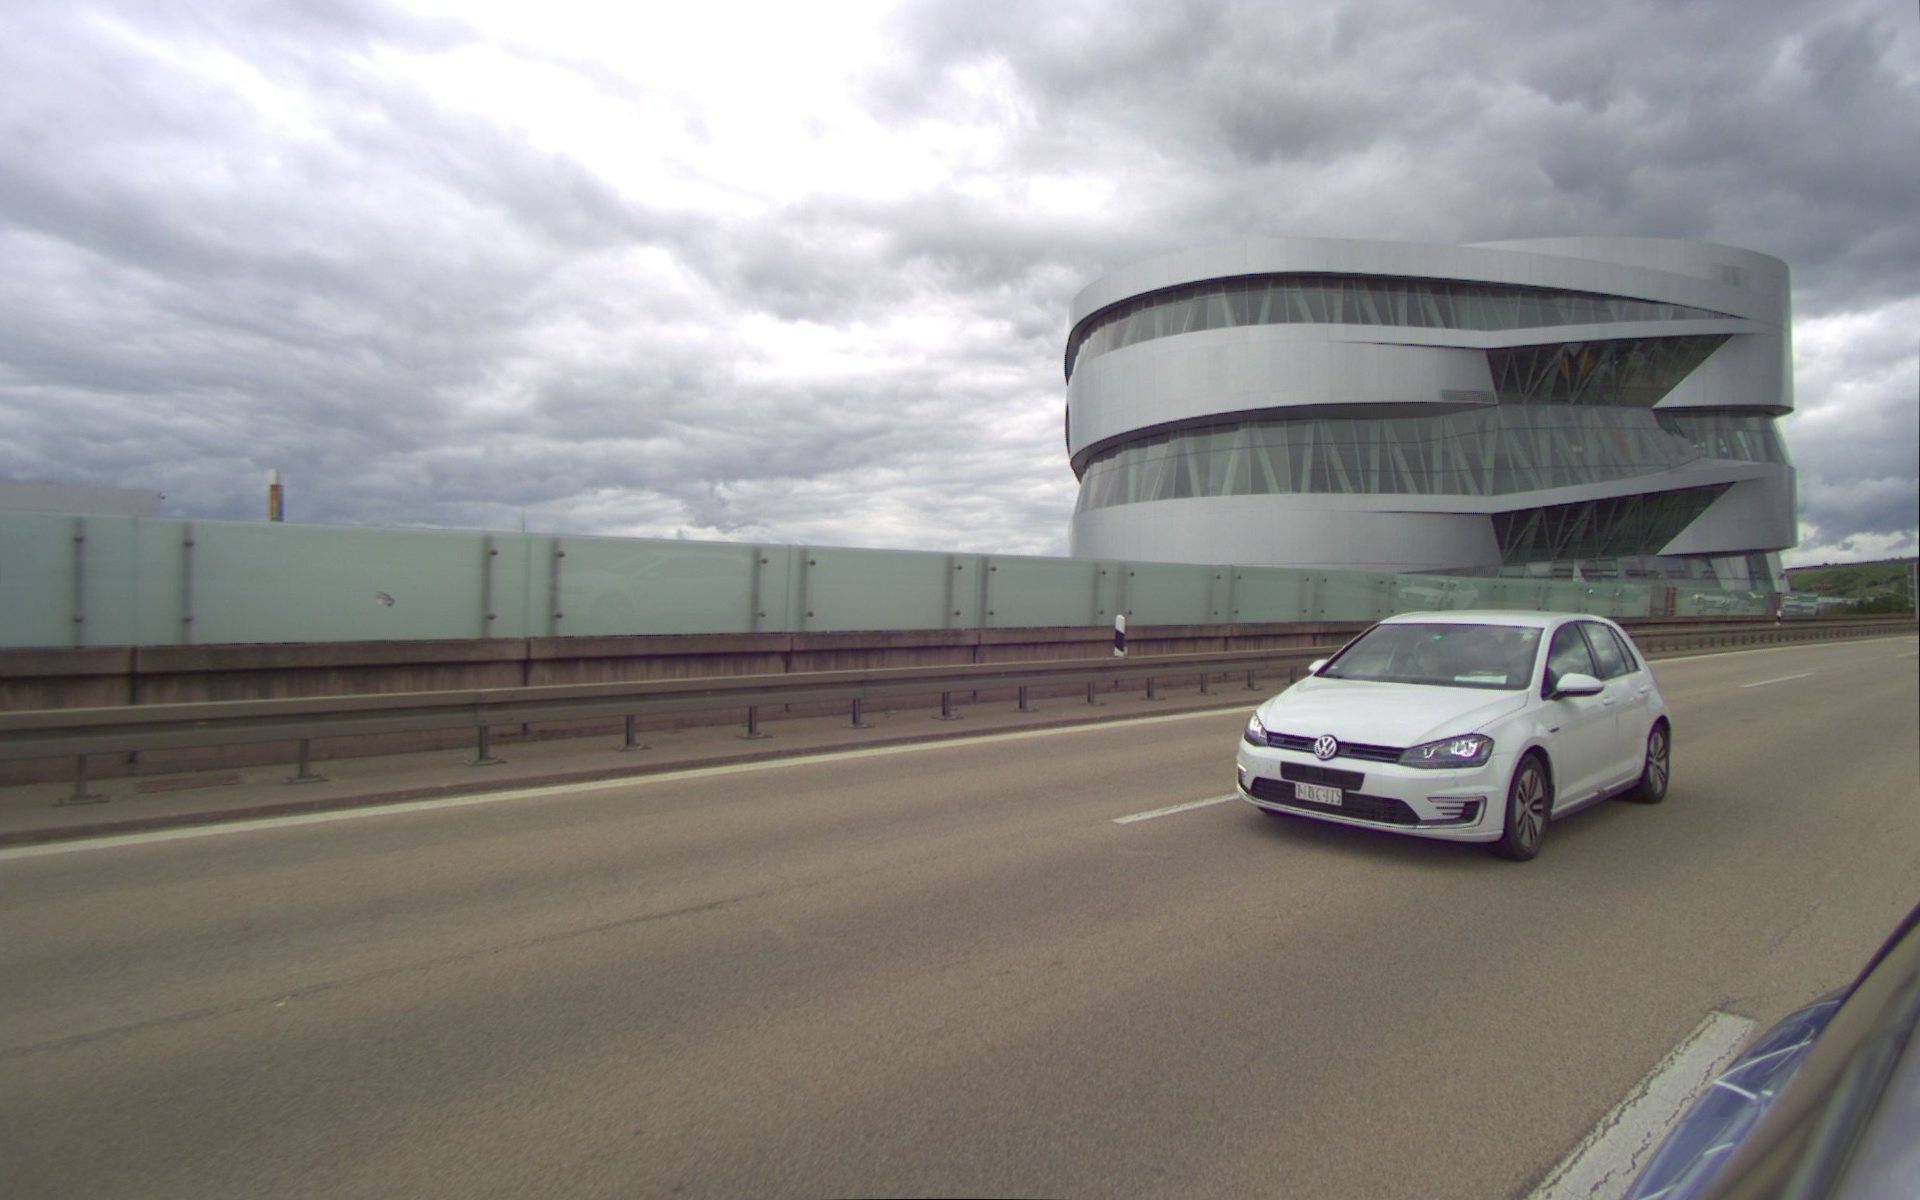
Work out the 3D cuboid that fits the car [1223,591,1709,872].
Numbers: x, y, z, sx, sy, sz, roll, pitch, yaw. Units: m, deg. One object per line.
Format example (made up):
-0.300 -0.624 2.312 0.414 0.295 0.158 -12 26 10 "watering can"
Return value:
3.809 0.689 7.306 4.001 1.470 1.757 0 0 -41 "car"
